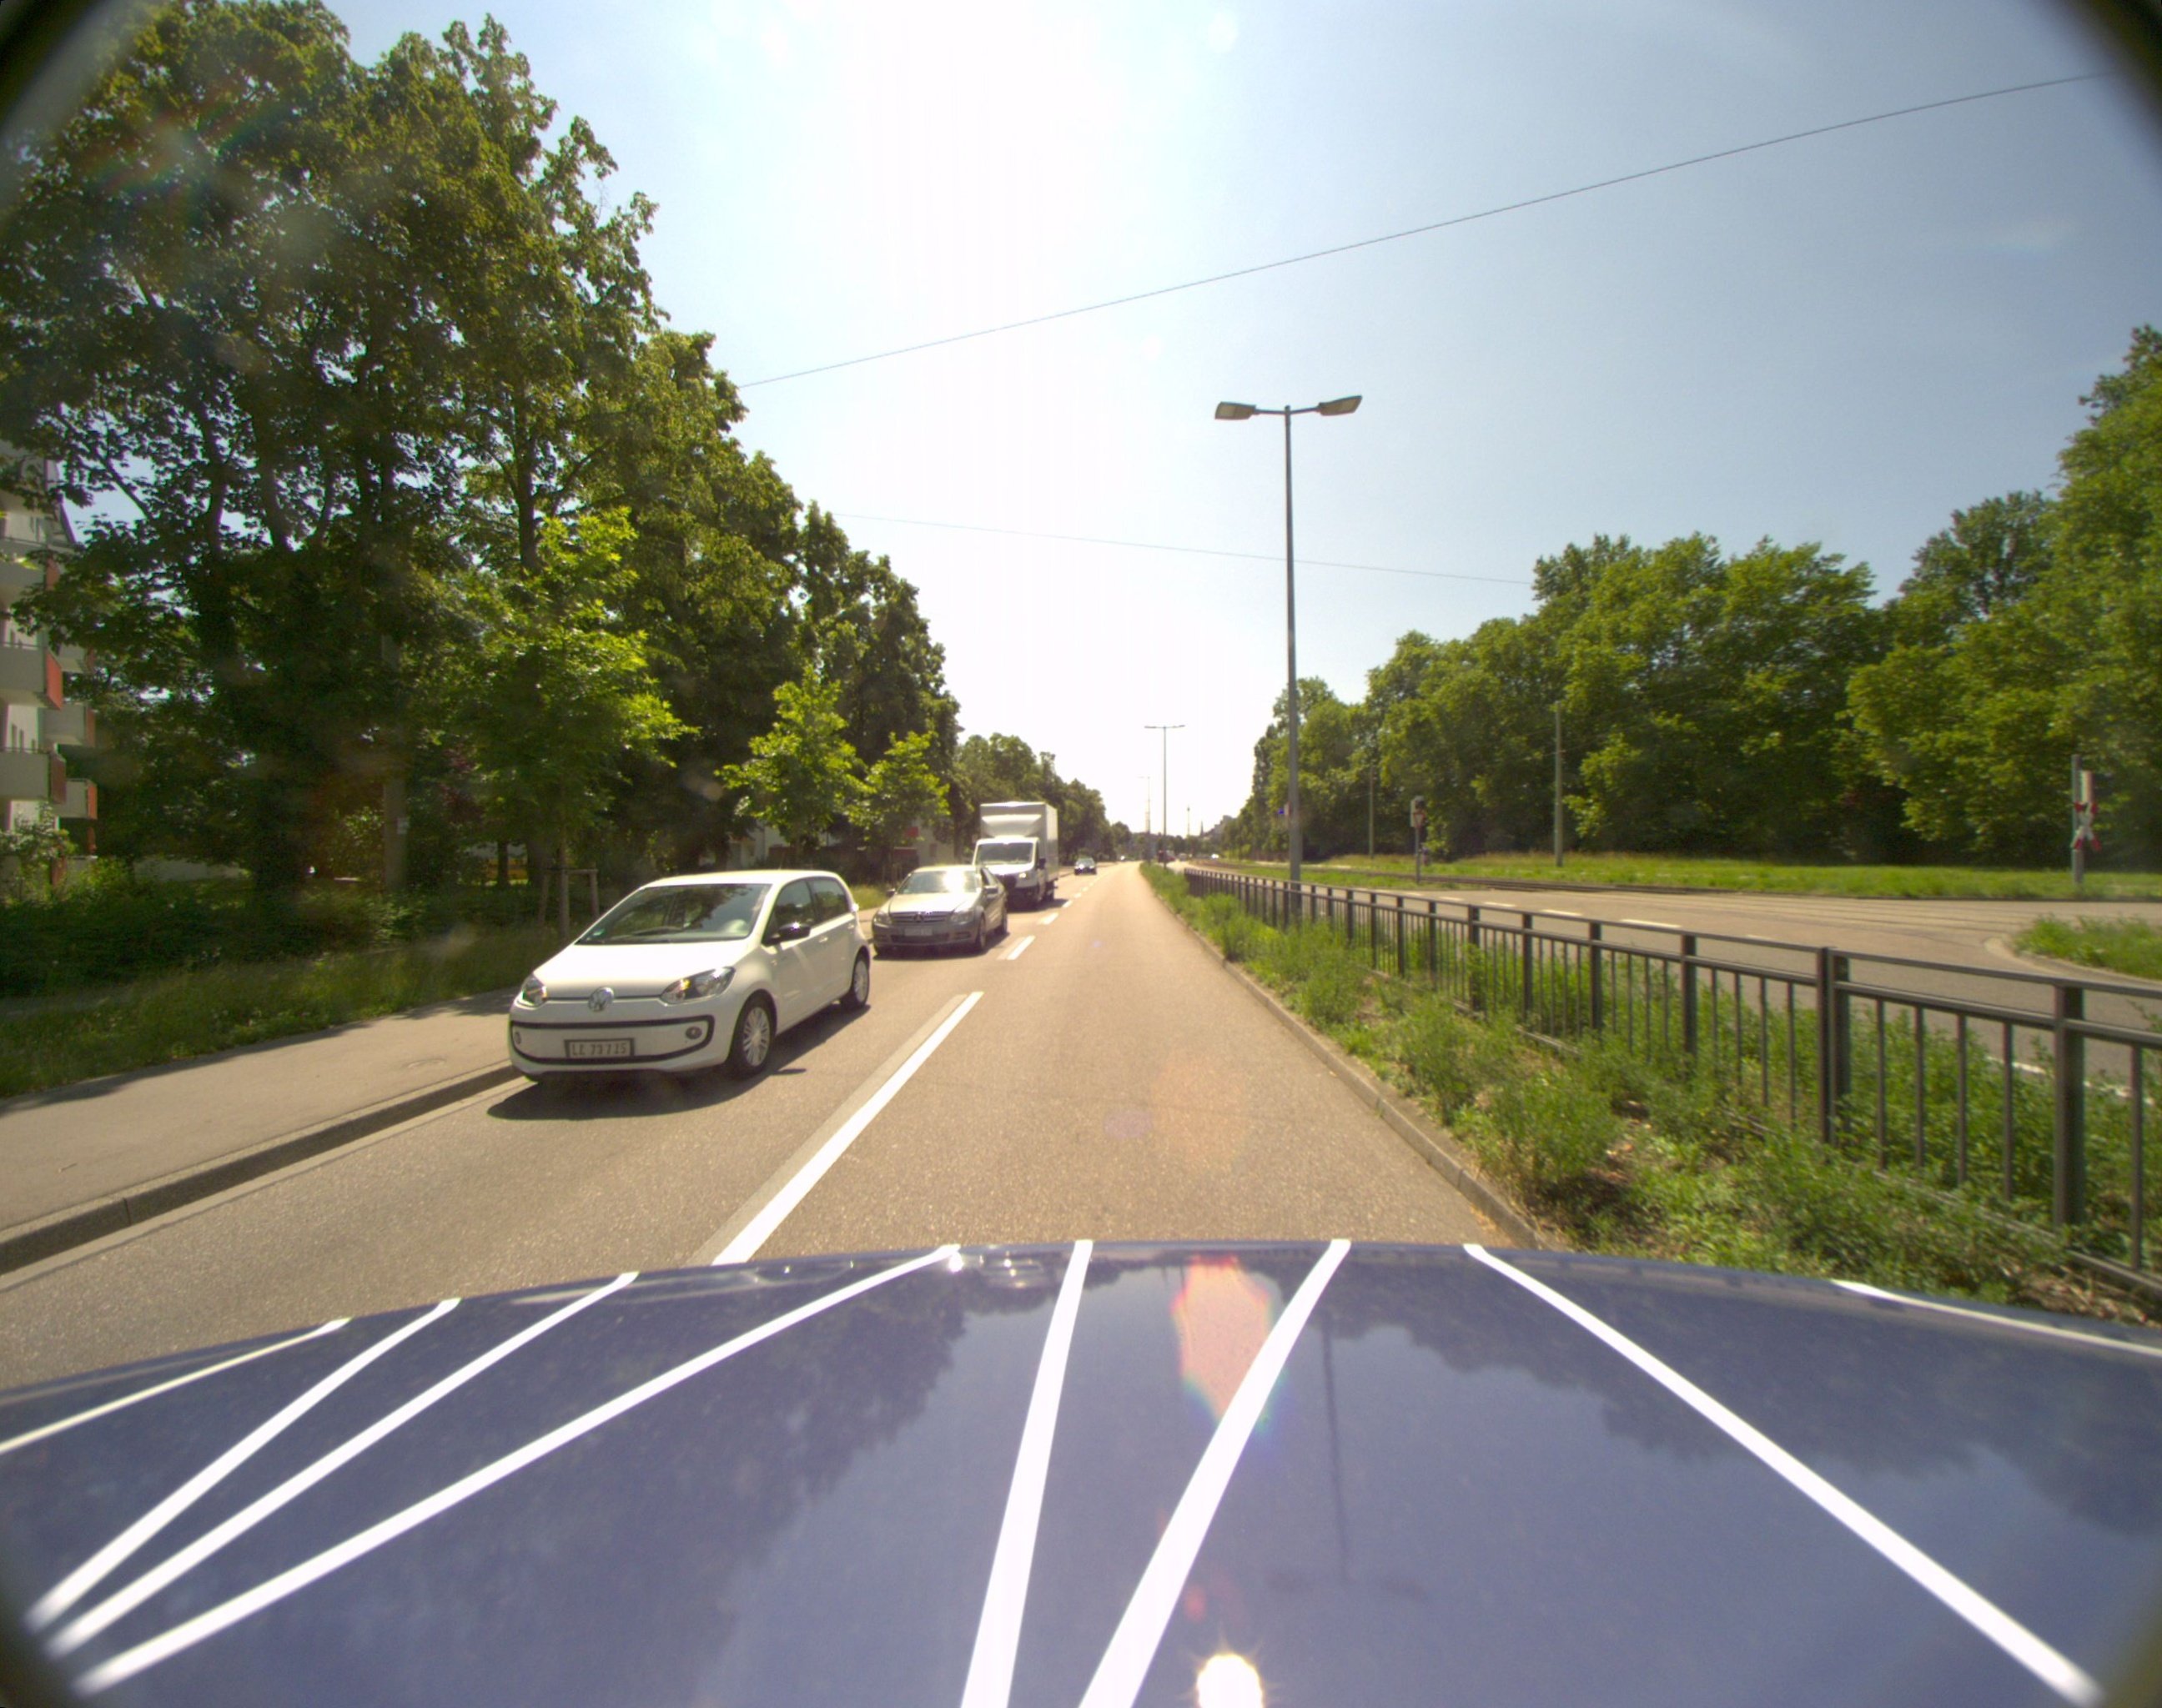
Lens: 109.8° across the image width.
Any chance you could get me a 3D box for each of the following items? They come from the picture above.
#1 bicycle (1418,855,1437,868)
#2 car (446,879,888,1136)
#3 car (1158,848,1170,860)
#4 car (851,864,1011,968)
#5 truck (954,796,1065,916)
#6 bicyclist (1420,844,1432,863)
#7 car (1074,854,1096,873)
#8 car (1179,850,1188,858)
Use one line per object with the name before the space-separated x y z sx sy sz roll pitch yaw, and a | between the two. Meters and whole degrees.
bicycle | 24.437 0.526 53.609 0.509 0.896 1.565 -1 0 -4
car | -3.118 1.039 6.737 1.663 1.441 3.855 -2 0 2
car | 16.190 -0.035 148.315 1.998 2.352 5.373 0 0 2
car | -2.483 0.976 13.639 1.903 1.451 3.971 -2 0 2
truck | -2.076 0.032 25.234 2.294 3.259 8.313 -1 0 4
bicyclist | 24.389 -0.067 53.738 0.509 1.328 0.680 -1 1 -5
car | 0.387 0.780 66.802 1.829 1.556 4.000 -1 0 2
car | 26.507 0.035 196.440 1.998 2.002 5.031 0 0 2
